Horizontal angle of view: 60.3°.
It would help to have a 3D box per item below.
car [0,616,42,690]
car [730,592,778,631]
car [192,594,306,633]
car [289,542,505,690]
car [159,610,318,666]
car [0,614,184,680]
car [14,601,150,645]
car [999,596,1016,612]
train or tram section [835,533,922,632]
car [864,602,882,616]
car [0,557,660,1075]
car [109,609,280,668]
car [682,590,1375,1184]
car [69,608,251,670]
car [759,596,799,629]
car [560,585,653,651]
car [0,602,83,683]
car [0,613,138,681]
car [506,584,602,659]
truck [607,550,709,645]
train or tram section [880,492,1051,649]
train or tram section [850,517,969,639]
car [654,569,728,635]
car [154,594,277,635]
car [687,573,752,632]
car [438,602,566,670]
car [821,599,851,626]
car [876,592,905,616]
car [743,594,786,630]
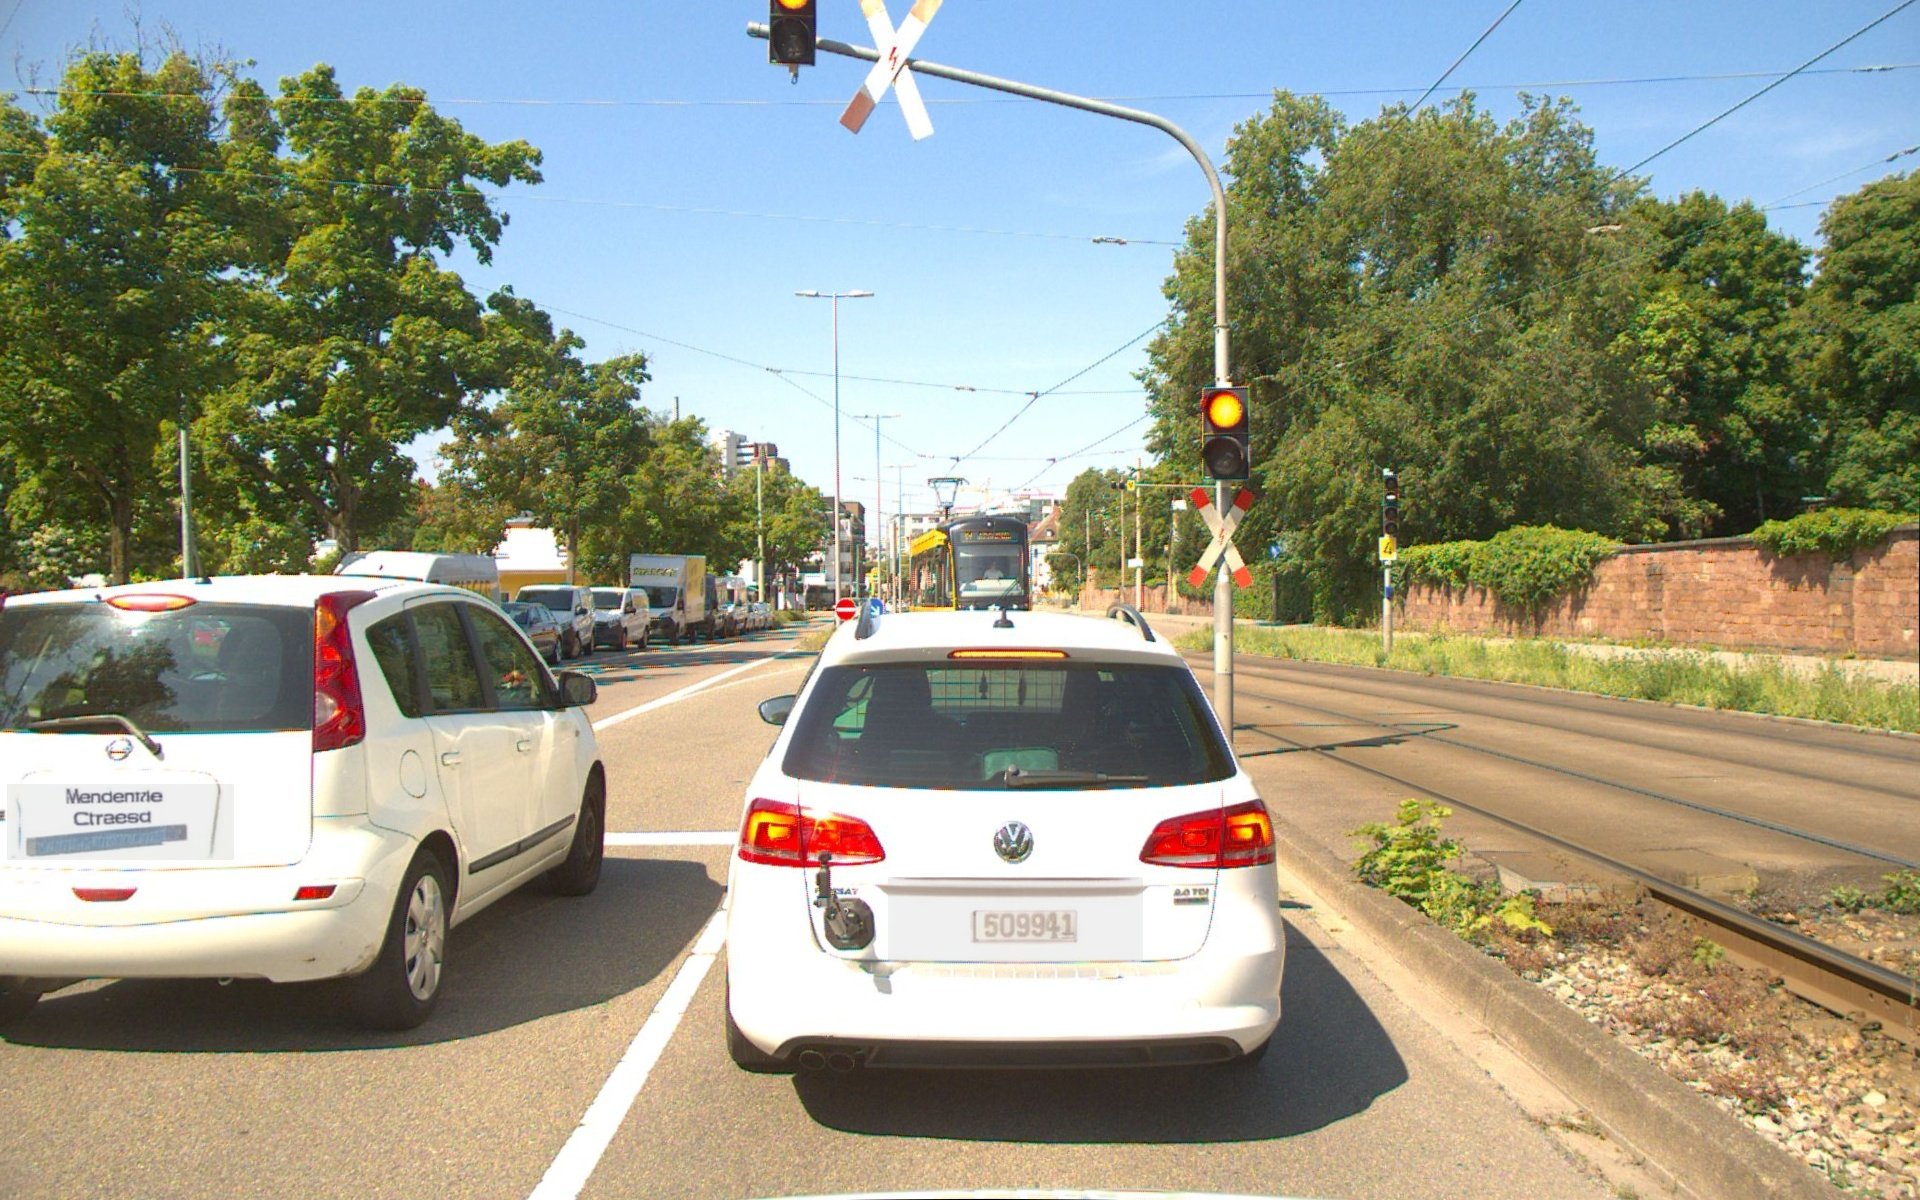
[{"bbox_3d":[-20.740,1.119,32.917,3.909,1.440,1.728,-2,0,-5],"label":"car"},{"bbox_3d":[-10.504,0.577,84.692,1.826,1.900,5.412,1,0,-1],"label":"car"},{"bbox_3d":[-34.910,0.678,81.291,4.698,1.819,2.062,1,0,-5],"label":"car"},{"bbox_3d":[-10.753,0.272,32.123,2.079,2.560,5.817,1,0,1],"label":"car"},{"bbox_3d":[-21.285,1.100,48.922,3.909,1.440,1.728,-2,0,-5],"label":"car"},{"bbox_3d":[-21.741,1.165,41.235,3.909,1.440,1.728,-2,0,-5],"label":"car"},{"bbox_3d":[-37.824,0.982,71.367,4.698,1.819,2.062,1,0,-5],"label":"car"},{"bbox_3d":[5.975,0.527,209.658,1.826,1.900,5.060,1,0,-2],"label":"car"},{"bbox_3d":[-3.653,-0.709,71.612,2.817,3.923,10.519,-1,0,-8],"label":"train or tram section"},{"bbox_3d":[-9.518,0.967,182.105,1.670,1.499,4.589,-1,0,0],"label":"car"},{"bbox_3d":[-2.559,0.645,7.303,1.628,1.575,4.546,0,0,0],"label":"car"},{"bbox_3d":[-21.297,1.055,46.104,3.909,1.440,1.728,-2,0,-5],"label":"car"},{"bbox_3d":[0.148,0.713,6.189,1.726,1.455,3.999,-1,0,-1],"label":"car"},{"bbox_3d":[-21.118,1.022,43.776,3.909,1.440,1.728,-2,0,-5],"label":"car"},{"bbox_3d":[-10.722,0.711,98.419,1.826,1.900,5.412,1,0,-1],"label":"car"},{"bbox_3d":[-10.975,0.526,51.718,1.826,1.900,5.412,1,0,-1],"label":"car"},{"bbox_3d":[-21.084,0.959,35.111,3.909,1.638,1.728,-2,0,-5],"label":"car"},{"bbox_3d":[-21.625,1.113,38.627,3.909,1.440,1.728,-2,0,-5],"label":"car"},{"bbox_3d":[-10.980,0.529,45.075,1.828,1.900,5.068,1,0,-6],"label":"car"},{"bbox_3d":[-10.867,-0.112,60.144,2.371,3.205,6.996,1,0,0],"label":"truck"},{"bbox_3d":[-0.153,-0.761,47.977,2.818,3.923,12.362,-1,0,-10],"label":"train or tram section"},{"bbox_3d":[-2.055,-0.750,60.266,2.817,3.923,12.366,-1,0,-9],"label":"train or tram section"},{"bbox_3d":[-11.021,0.063,68.141,2.079,2.560,5.733,1,0,0],"label":"car"},{"bbox_3d":[-34.389,0.666,76.500,4.698,1.819,2.062,1,0,-5],"label":"car"},{"bbox_3d":[-10.935,0.099,75.578,2.079,2.560,5.733,1,0,0],"label":"car"},{"bbox_3d":[-10.578,0.799,38.520,1.826,1.440,4.278,1,0,-1],"label":"car"},{"bbox_3d":[-7.780,0.758,103.947,1.642,1.580,3.579,-3,0,-1],"label":"car"},{"bbox_3d":[-4.711,0.259,112.716,1.670,1.499,4.589,-1,0,0],"label":"car"},{"bbox_3d":[-10.773,0.626,91.502,1.826,1.900,5.412,1,0,-1],"label":"car"}]
